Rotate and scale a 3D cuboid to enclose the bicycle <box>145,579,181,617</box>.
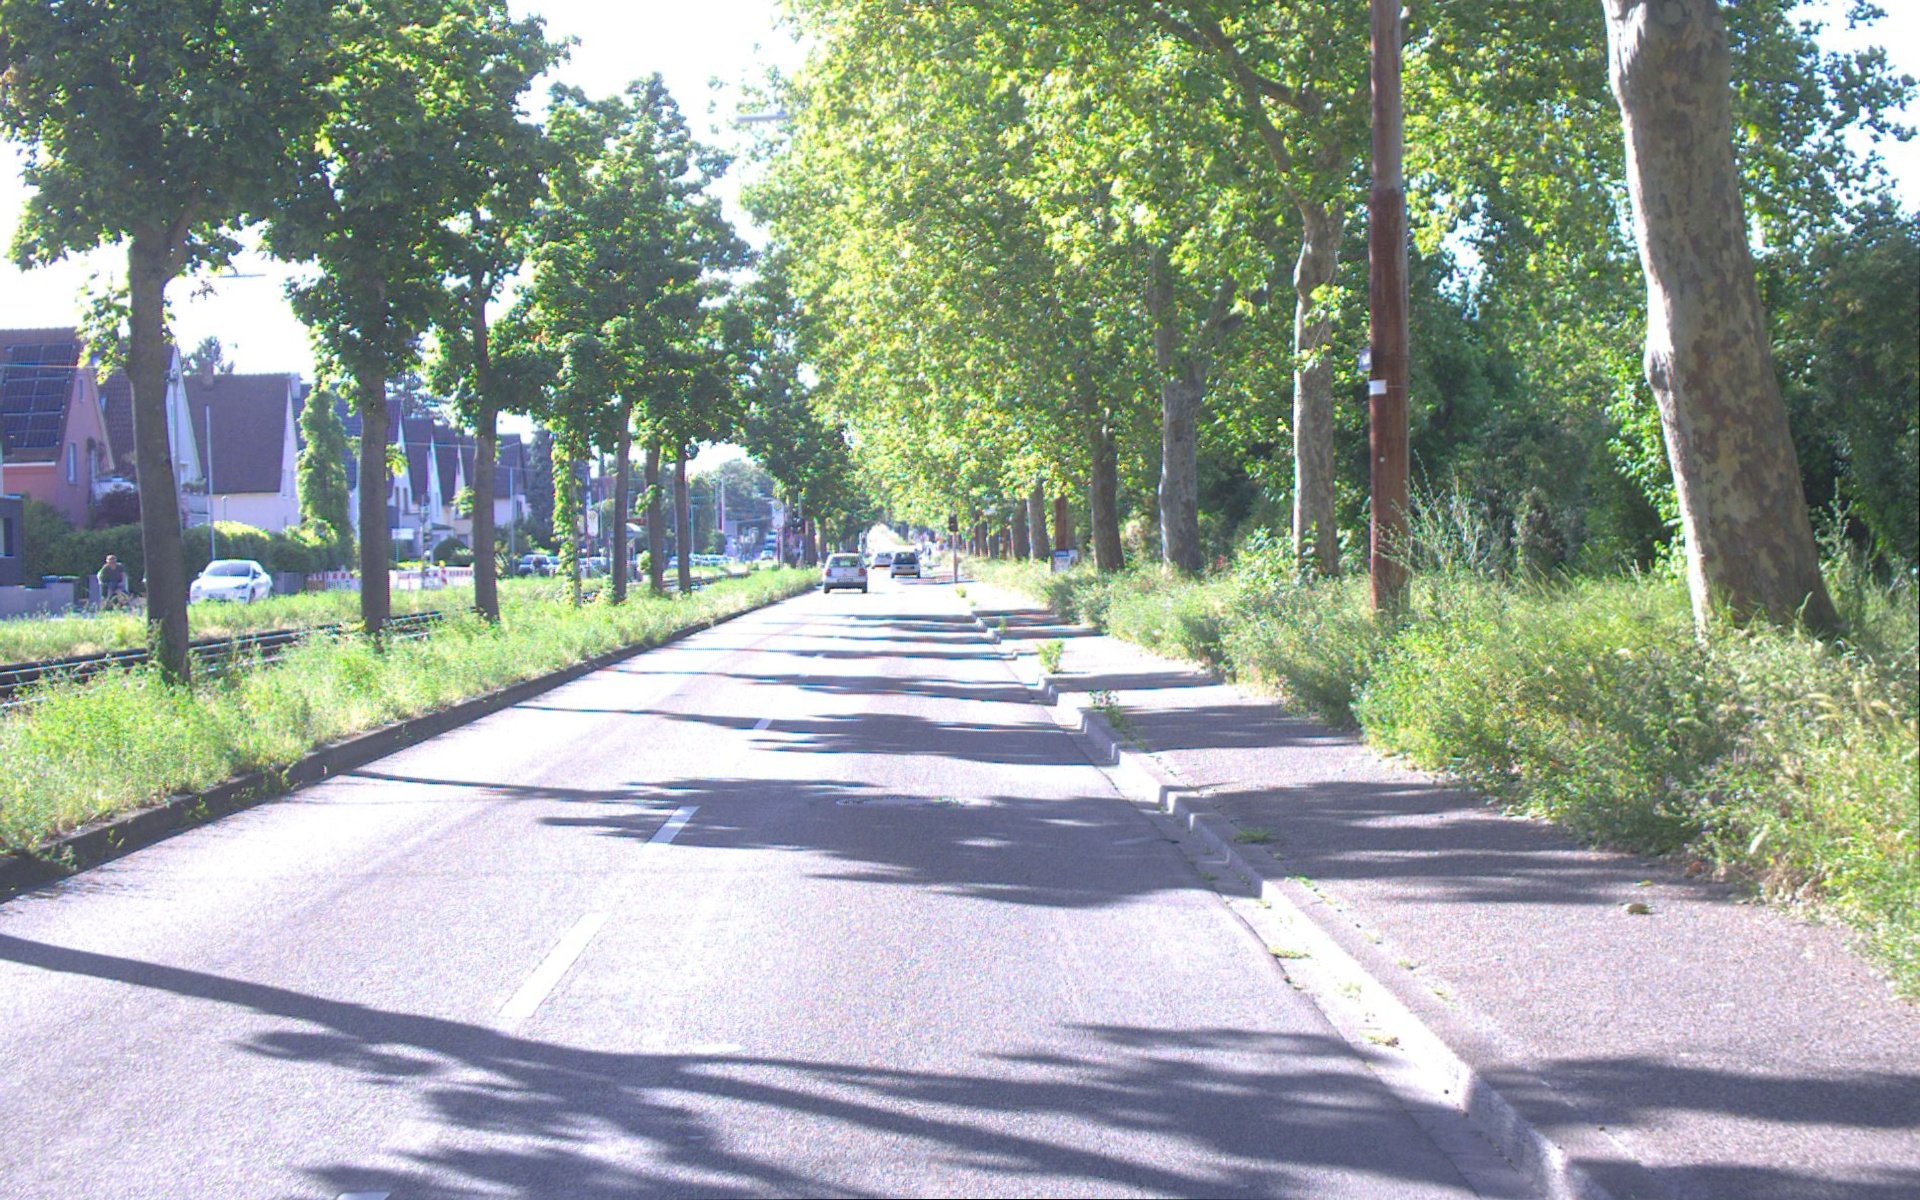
[{"bbox_3d":[-20.410,-0.050,88.050,0.398,0.924,2.096,-2,1,0],"label":"bicycle"}]

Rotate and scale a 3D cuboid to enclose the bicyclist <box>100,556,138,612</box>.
[{"bbox_3d":[-20.475,-0.389,83.704,0.688,1.332,0.881,-1,1,-1],"label":"bicyclist"}]

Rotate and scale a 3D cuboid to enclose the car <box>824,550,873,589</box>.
[{"bbox_3d":[-4.085,-1.110,126.114,1.738,1.396,3.277,-1,1,-1],"label":"car"}]

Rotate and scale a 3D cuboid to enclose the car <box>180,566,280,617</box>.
[{"bbox_3d":[-23.640,-0.284,111.473,1.994,1.593,4.731,-1,1,3],"label":"car"}]

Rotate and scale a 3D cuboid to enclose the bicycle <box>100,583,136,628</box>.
[{"bbox_3d":[-20.474,0.129,83.595,0.398,1.066,1.880,-2,1,0],"label":"bicycle"}]

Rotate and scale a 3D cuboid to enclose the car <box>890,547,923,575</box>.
[{"bbox_3d":[-2.984,-2.193,192.675,1.761,1.508,3.277,-1,1,0],"label":"car"}]

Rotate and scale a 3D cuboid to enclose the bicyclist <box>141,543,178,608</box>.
[{"bbox_3d":[-20.461,-0.629,87.900,0.688,1.646,0.881,-2,1,-1],"label":"bicyclist"}]
